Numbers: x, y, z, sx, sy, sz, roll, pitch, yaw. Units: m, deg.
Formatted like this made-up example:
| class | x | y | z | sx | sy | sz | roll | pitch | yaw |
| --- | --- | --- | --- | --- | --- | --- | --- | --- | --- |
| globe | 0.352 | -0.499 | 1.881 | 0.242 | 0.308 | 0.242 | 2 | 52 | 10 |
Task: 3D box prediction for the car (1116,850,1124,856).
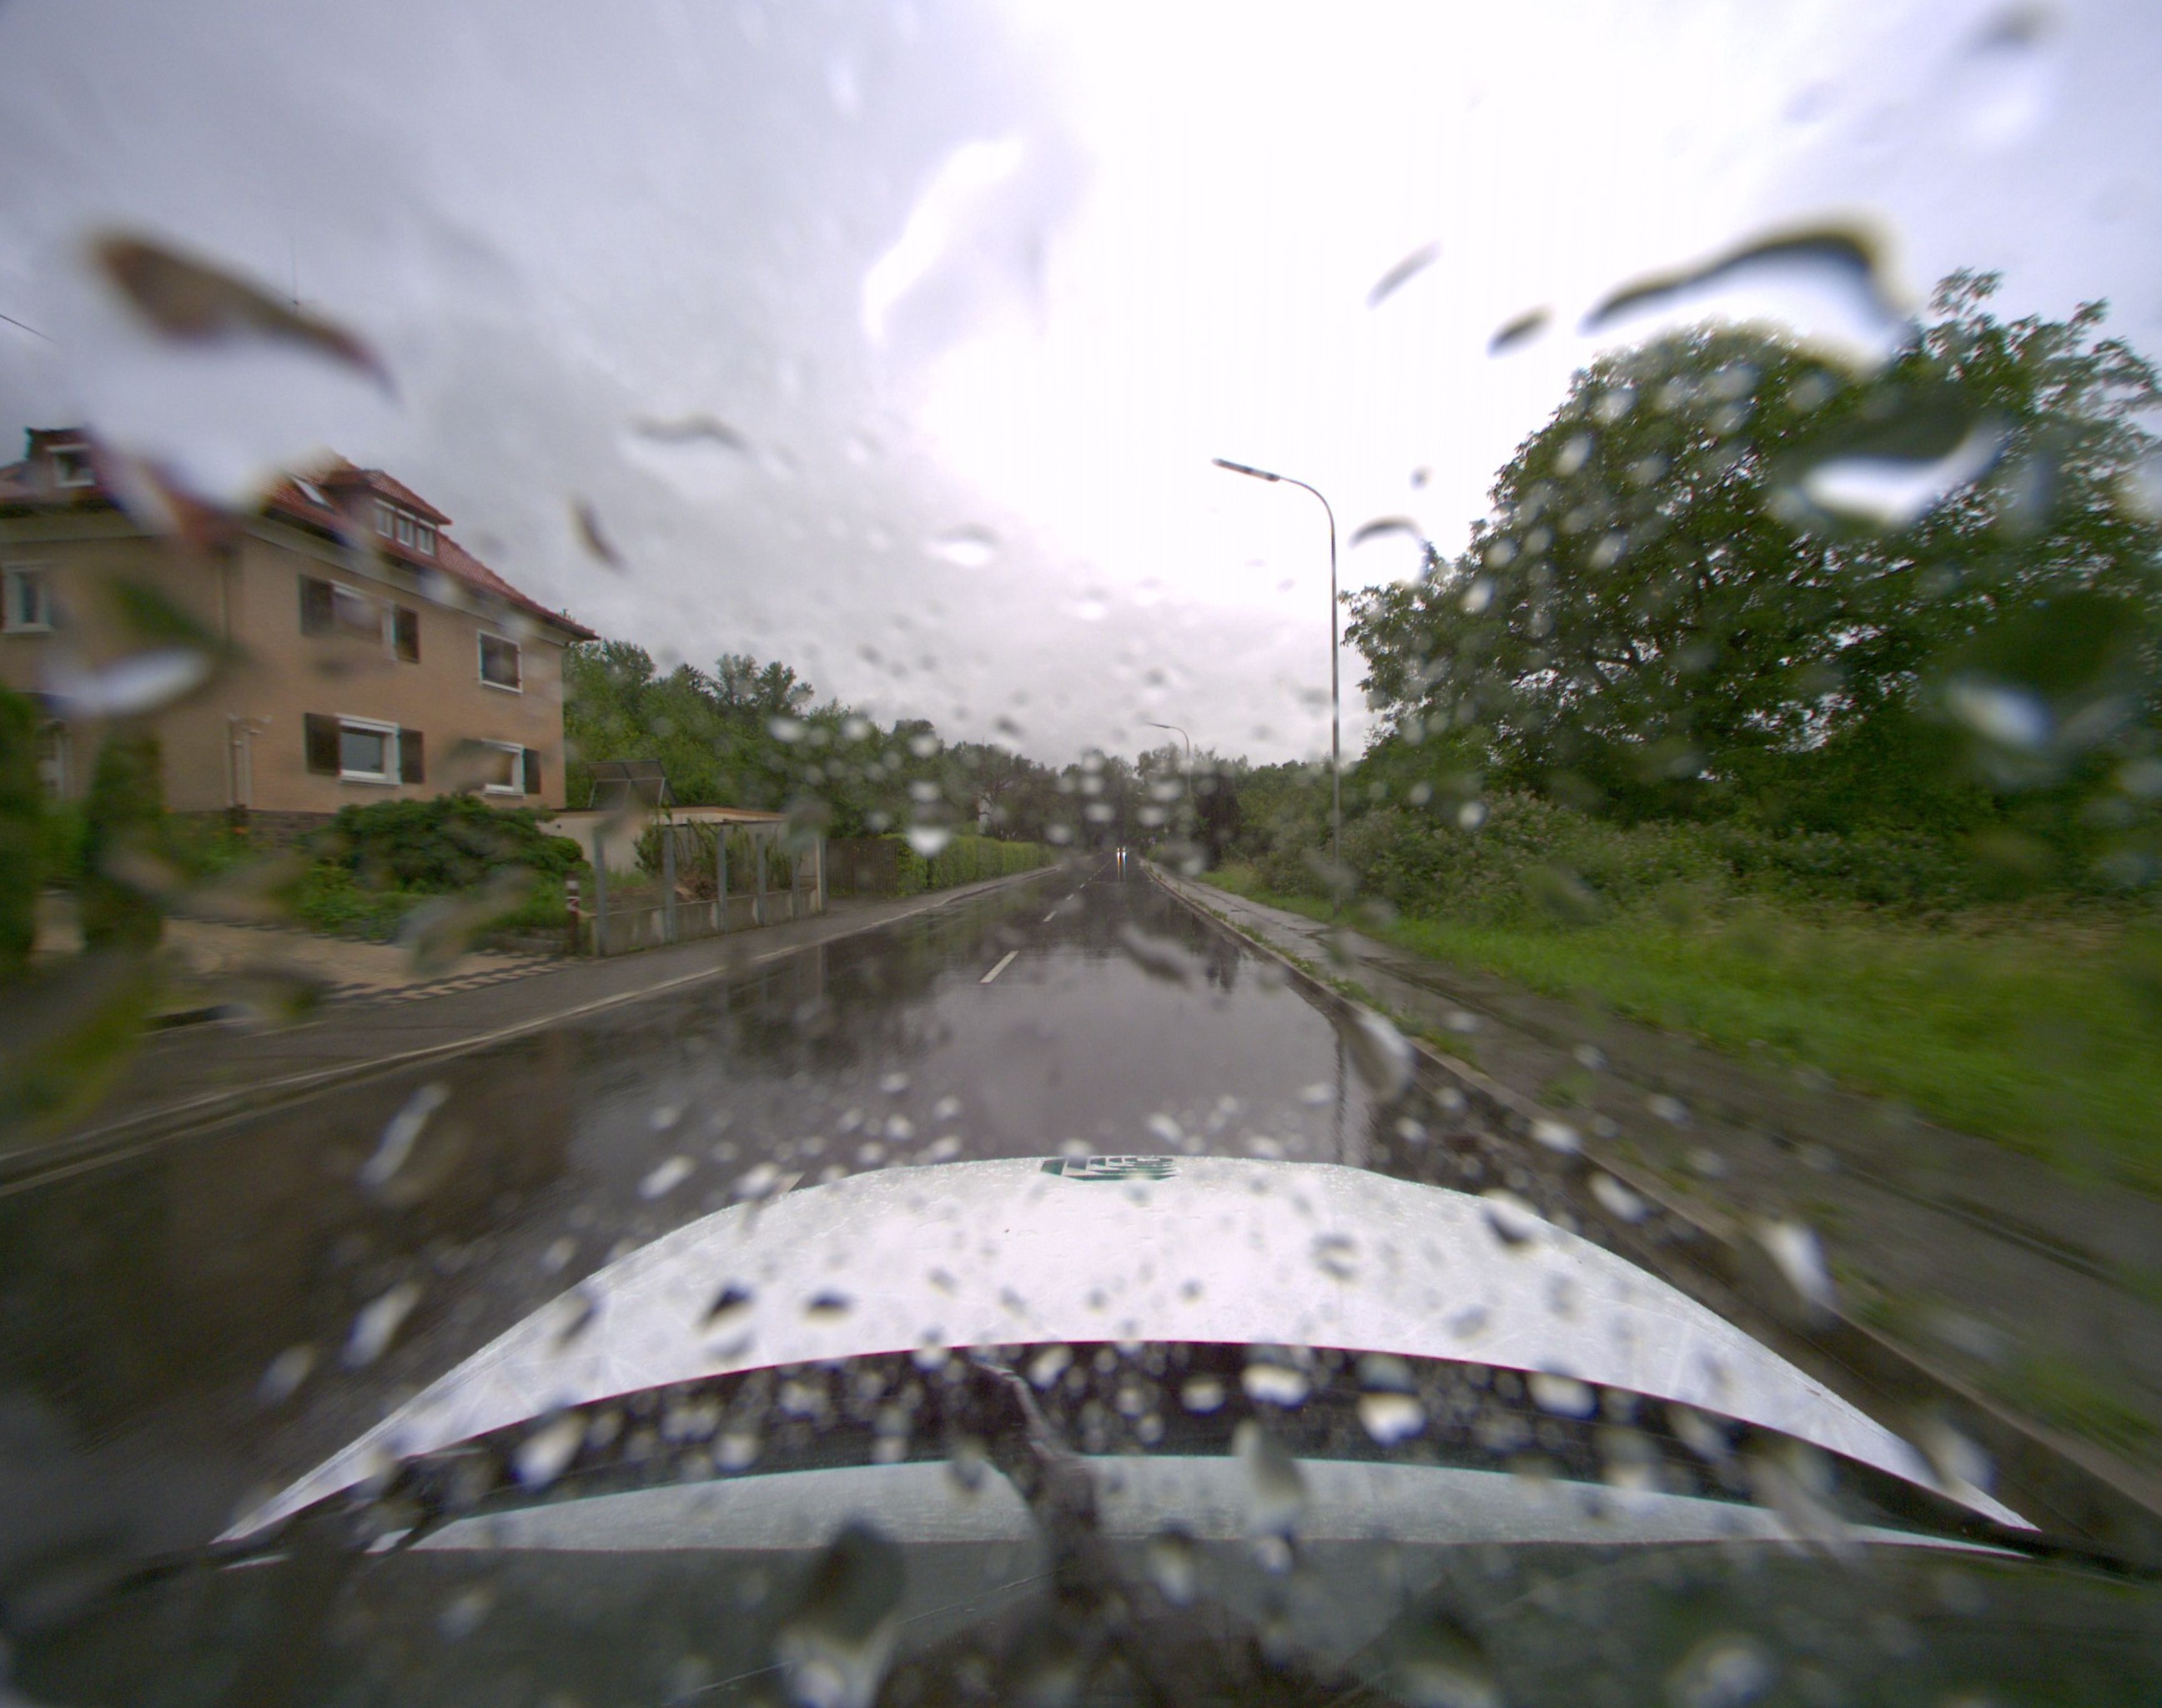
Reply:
| class | x | y | z | sx | sy | sz | roll | pitch | yaw |
| --- | --- | --- | --- | --- | --- | --- | --- | --- | --- |
| car | 9.750 | -0.228 | 203.266 | 1.985 | 1.453 | 4.432 | 0 | 1 | 3 |
